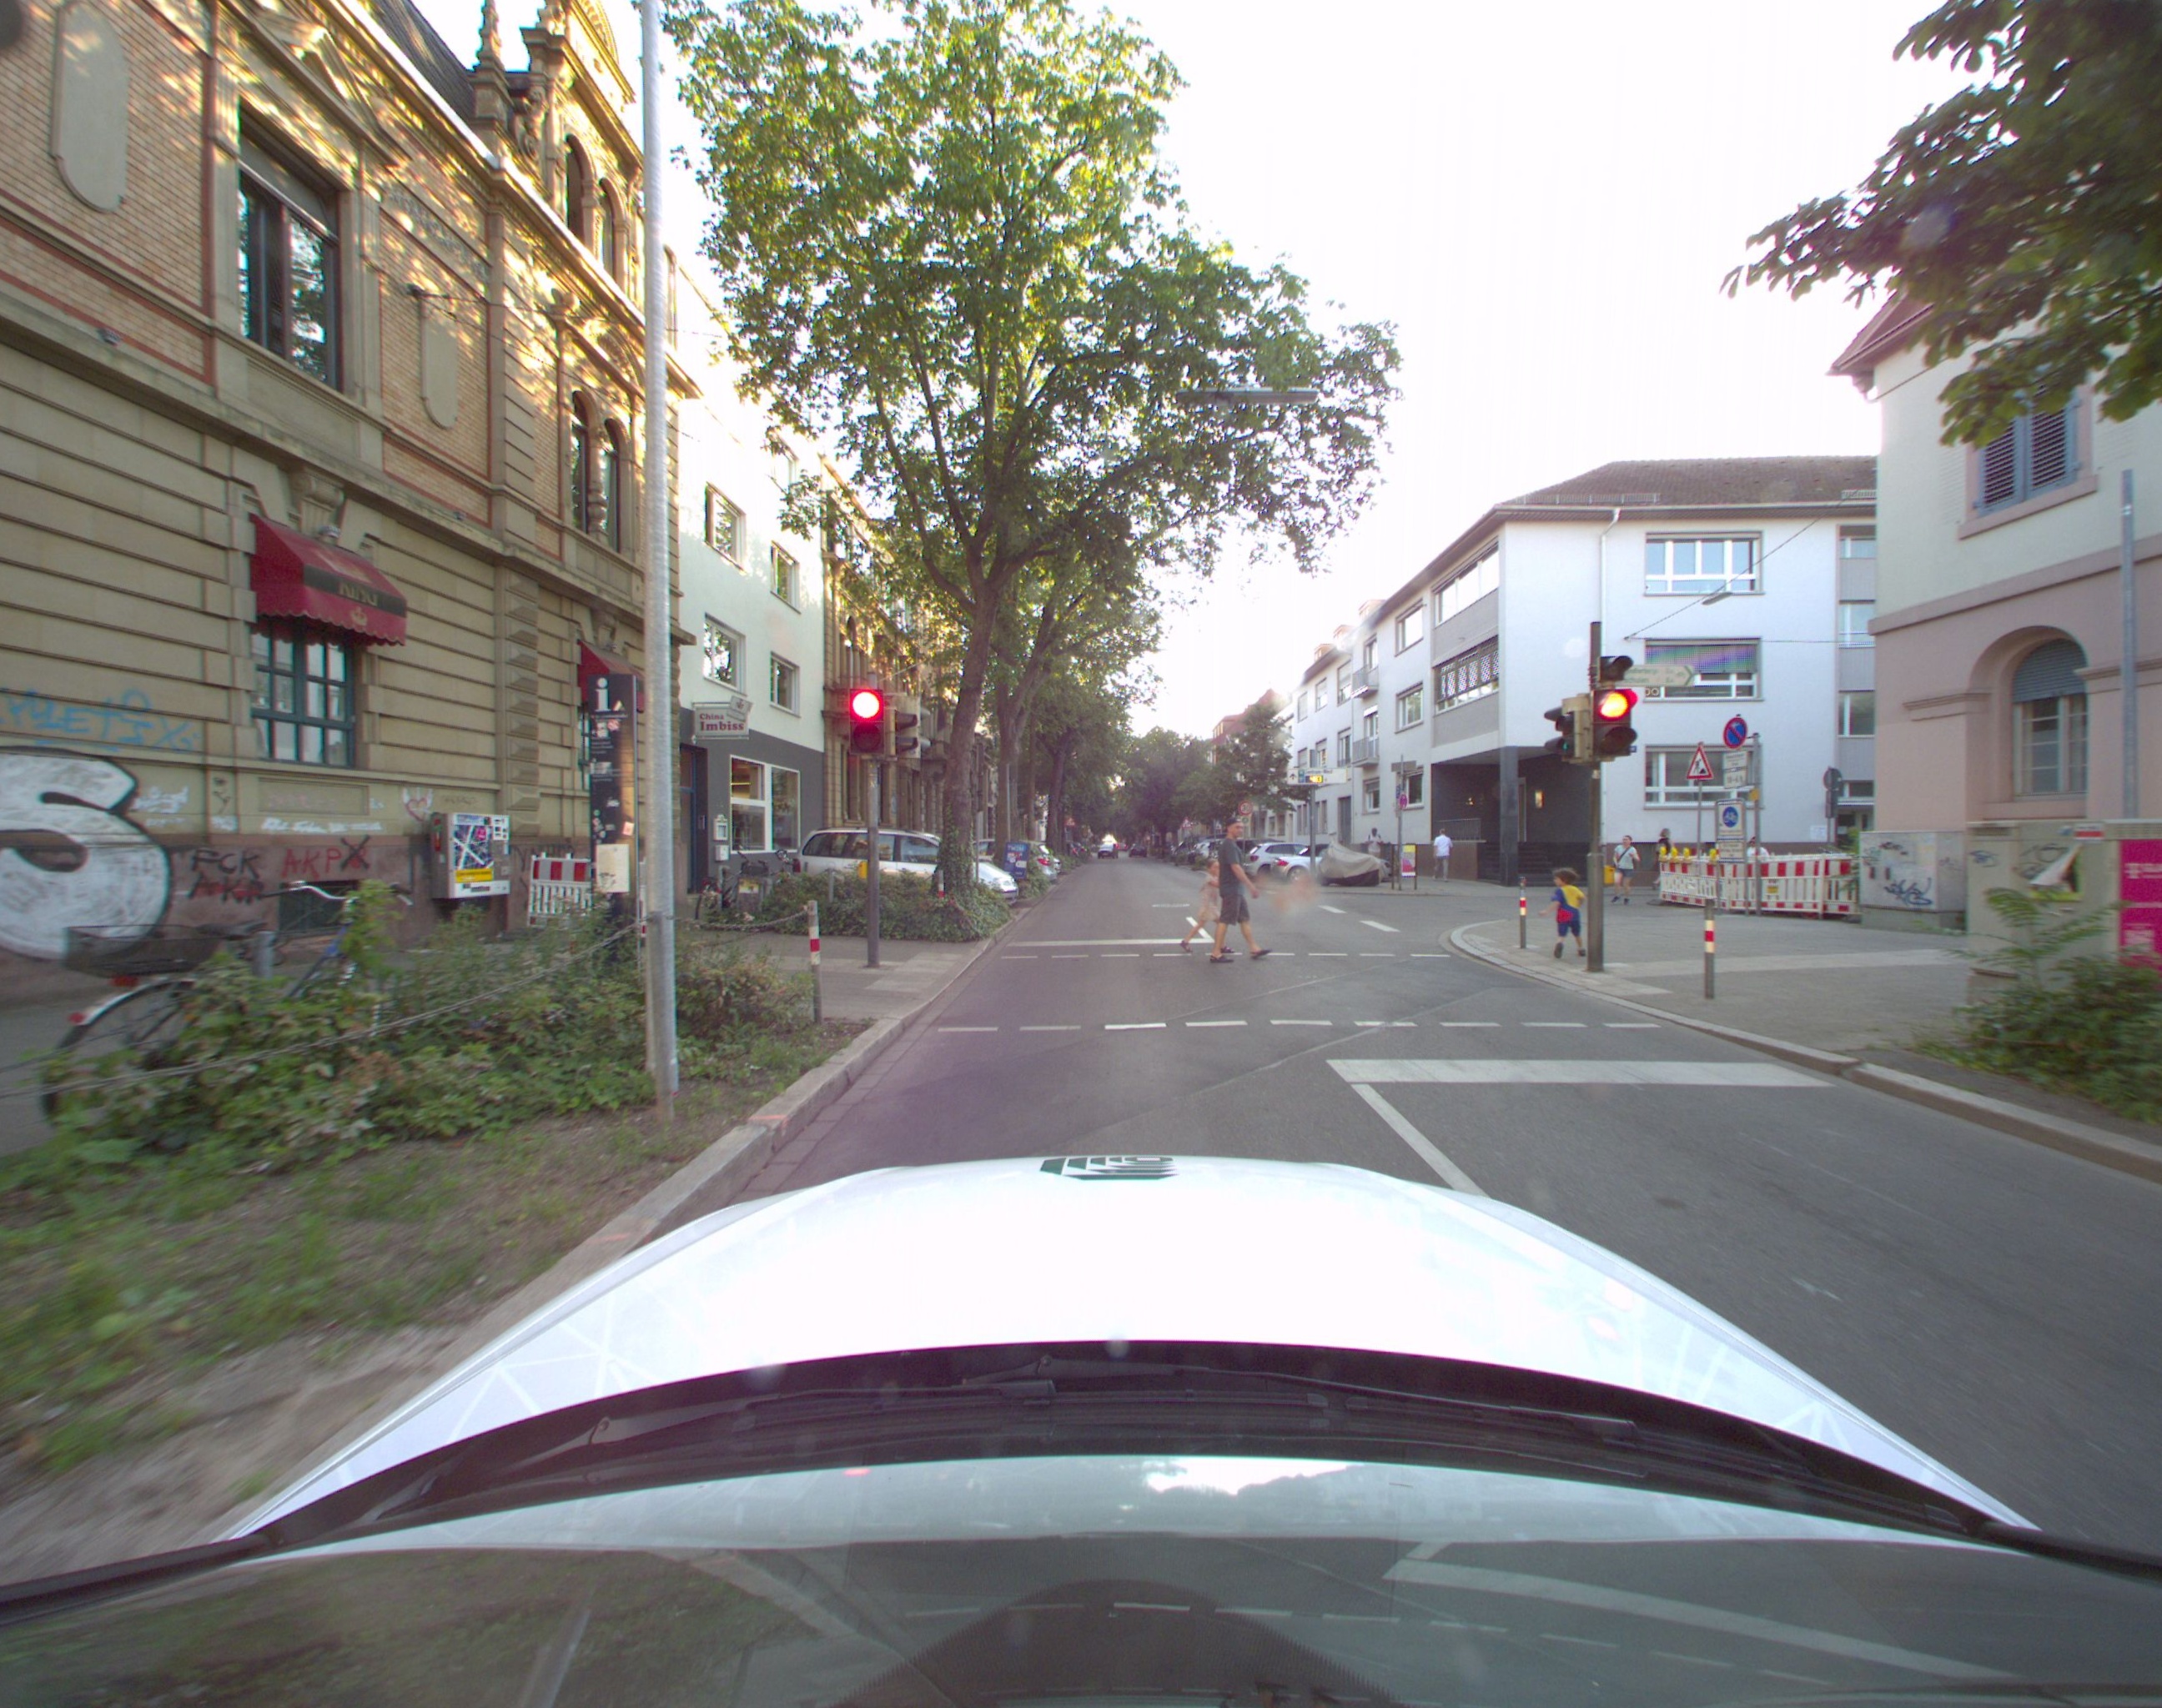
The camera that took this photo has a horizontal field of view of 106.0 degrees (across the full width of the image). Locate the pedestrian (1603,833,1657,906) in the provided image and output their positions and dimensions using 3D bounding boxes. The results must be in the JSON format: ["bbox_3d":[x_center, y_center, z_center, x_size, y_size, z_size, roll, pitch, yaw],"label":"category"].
[{"bbox_3d":[12.074,0.311,17.910,0.984,1.557,0.693,-1,1,-36],"label":"pedestrian"}]

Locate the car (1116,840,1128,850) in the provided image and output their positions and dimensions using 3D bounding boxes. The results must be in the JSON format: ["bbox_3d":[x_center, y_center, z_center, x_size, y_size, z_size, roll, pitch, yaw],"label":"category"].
[{"bbox_3d":[7.096,-1.628,140.688,1.917,1.659,4.002,-1,1,2],"label":"car"}]

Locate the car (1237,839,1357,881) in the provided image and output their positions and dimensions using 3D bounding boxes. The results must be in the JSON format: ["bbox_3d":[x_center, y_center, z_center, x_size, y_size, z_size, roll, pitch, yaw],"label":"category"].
[{"bbox_3d":[7.941,0.212,30.165,3.999,1.442,1.708,-1,1,1],"label":"car"}]

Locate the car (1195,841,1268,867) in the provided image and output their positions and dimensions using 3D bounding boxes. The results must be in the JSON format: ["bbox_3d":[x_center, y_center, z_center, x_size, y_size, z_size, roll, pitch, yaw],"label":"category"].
[{"bbox_3d":[8.804,-0.015,47.801,3.999,1.409,1.708,-1,1,1],"label":"car"}]

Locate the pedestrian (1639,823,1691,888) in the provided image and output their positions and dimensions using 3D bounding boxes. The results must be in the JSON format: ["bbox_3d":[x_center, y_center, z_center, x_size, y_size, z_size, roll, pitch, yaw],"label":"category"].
[{"bbox_3d":[16.022,0.025,22.375,0.765,1.751,0.934,0,1,2],"label":"pedestrian"}]

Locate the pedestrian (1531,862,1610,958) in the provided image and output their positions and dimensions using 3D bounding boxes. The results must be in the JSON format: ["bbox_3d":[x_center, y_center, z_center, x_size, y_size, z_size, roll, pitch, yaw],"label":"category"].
[{"bbox_3d":[6.062,0.677,10.121,0.562,1.121,0.840,-2,1,11],"label":"pedestrian"}]

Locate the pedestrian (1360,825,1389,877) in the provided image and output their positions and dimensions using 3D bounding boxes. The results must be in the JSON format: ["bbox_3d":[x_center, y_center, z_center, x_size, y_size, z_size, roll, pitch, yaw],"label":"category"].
[{"bbox_3d":[10.607,-0.113,29.448,0.764,1.841,0.944,0,1,2],"label":"pedestrian"}]

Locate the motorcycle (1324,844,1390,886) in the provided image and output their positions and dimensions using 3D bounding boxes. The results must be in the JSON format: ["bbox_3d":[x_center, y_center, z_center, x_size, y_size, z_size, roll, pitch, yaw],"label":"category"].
[{"bbox_3d":[8.222,0.321,24.313,1.788,1.199,0.615,-1,0,10],"label":"motorcycle"}]

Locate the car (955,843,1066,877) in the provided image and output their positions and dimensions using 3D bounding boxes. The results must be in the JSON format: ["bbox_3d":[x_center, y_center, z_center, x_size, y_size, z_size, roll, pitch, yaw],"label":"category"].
[{"bbox_3d":[-2.958,0.230,34.858,4.530,1.372,1.834,-1,1,2],"label":"car"}]

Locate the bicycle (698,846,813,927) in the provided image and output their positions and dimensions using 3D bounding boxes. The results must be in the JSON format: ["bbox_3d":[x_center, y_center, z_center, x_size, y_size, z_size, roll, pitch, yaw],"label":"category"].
[{"bbox_3d":[-5.335,0.474,13.584,0.731,1.186,2.636,1,1,3],"label":"bicycle"}]

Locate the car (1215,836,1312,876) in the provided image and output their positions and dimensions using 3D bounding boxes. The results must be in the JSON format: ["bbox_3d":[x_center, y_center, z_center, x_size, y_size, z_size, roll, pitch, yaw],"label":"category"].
[{"bbox_3d":[8.152,0.064,36.569,3.999,1.690,1.708,-1,1,1],"label":"car"}]

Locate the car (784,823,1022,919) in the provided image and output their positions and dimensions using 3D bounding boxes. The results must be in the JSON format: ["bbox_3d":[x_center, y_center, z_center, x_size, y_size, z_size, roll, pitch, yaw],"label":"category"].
[{"bbox_3d":[-3.569,0.328,17.019,4.535,1.834,1.832,-1,1,-1],"label":"car"}]

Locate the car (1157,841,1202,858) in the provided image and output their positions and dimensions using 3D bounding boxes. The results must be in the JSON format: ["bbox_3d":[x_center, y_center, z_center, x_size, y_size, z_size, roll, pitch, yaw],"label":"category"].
[{"bbox_3d":[9.048,-0.433,75.285,3.999,1.601,1.708,0,1,1],"label":"car"}]

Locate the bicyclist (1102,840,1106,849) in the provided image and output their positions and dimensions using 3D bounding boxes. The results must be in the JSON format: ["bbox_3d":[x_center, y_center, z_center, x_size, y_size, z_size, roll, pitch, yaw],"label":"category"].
[{"bbox_3d":[3.593,-1.515,129.711,0.570,1.470,0.642,0,0,-4],"label":"bicyclist"}]

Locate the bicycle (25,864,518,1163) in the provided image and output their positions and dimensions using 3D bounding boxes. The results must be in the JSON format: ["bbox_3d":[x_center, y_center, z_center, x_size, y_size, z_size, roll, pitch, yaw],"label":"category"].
[{"bbox_3d":[-4.067,0.670,4.407,0.508,1.153,2.102,1,1,2],"label":"bicycle"}]

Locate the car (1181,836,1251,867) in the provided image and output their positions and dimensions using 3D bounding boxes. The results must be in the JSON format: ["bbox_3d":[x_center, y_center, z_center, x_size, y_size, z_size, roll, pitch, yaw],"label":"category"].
[{"bbox_3d":[8.275,-0.134,50.153,3.999,1.815,1.708,-1,1,1],"label":"car"}]

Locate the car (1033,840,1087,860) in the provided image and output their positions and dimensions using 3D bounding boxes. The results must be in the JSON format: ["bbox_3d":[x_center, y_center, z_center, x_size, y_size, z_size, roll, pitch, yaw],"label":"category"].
[{"bbox_3d":[-1.769,-0.321,69.594,4.530,1.691,1.834,0,1,2],"label":"car"}]

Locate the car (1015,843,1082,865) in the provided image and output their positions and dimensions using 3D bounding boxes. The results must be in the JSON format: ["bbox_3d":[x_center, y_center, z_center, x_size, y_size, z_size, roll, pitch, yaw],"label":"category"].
[{"bbox_3d":[-2.258,-0.010,57.373,4.530,1.409,1.834,-1,1,2],"label":"car"}]

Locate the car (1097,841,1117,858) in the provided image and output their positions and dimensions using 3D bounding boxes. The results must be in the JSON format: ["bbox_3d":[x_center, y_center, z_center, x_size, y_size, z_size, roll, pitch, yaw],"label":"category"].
[{"bbox_3d":[2.554,-0.469,81.364,1.898,1.577,3.991,1,1,0],"label":"car"}]

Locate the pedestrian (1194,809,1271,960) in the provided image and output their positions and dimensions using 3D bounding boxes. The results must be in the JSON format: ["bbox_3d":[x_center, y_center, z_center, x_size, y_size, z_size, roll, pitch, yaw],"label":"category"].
[{"bbox_3d":[1.883,0.366,10.237,0.883,1.815,0.795,-1,1,6],"label":"pedestrian"}]

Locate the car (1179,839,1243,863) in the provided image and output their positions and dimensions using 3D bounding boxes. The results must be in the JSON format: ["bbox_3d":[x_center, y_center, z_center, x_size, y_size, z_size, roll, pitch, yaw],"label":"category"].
[{"bbox_3d":[8.428,-0.183,53.008,3.999,1.530,1.708,0,1,1],"label":"car"}]

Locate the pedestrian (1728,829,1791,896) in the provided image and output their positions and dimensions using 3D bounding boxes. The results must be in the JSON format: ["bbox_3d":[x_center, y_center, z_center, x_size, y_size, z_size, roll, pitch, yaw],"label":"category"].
[{"bbox_3d":[15.640,0.187,18.785,0.799,1.501,0.773,-2,0,-12],"label":"pedestrian"}]

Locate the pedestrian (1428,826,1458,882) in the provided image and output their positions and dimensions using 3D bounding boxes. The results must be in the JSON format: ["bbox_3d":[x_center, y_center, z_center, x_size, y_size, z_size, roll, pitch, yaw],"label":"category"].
[{"bbox_3d":[11.581,-0.013,26.072,0.700,1.751,0.701,0,1,6],"label":"pedestrian"}]

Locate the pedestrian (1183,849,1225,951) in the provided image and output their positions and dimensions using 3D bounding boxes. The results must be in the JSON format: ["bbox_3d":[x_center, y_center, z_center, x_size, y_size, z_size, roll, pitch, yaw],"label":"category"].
[{"bbox_3d":[1.652,0.605,10.993,0.536,1.335,0.507,0,1,7],"label":"pedestrian"}]

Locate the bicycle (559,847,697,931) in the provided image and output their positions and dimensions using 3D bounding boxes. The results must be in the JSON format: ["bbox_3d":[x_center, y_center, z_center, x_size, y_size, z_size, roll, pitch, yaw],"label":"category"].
[{"bbox_3d":[-7.184,0.494,13.118,0.634,1.201,2.566,-1,1,4],"label":"bicycle"}]

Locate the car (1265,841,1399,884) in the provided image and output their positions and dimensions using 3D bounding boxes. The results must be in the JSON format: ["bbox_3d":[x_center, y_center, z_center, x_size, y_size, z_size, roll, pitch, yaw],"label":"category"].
[{"bbox_3d":[8.404,0.273,27.510,3.998,1.342,1.708,-1,1,2],"label":"car"}]

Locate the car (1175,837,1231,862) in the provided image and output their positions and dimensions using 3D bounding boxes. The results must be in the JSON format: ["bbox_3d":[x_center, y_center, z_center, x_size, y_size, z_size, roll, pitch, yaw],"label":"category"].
[{"bbox_3d":[8.999,-0.355,60.283,3.999,1.830,1.708,0,1,1],"label":"car"}]

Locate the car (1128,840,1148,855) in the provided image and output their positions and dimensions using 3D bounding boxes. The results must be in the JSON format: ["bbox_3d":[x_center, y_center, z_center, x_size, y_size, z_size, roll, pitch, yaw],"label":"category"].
[{"bbox_3d":[6.020,-0.670,86.388,1.819,1.561,4.029,1,1,1],"label":"car"}]

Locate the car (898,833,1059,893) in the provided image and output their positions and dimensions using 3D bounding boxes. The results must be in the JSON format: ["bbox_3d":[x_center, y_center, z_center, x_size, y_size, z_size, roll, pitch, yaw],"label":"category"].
[{"bbox_3d":[-3.004,0.254,24.561,4.530,1.688,1.834,-1,1,2],"label":"car"}]
